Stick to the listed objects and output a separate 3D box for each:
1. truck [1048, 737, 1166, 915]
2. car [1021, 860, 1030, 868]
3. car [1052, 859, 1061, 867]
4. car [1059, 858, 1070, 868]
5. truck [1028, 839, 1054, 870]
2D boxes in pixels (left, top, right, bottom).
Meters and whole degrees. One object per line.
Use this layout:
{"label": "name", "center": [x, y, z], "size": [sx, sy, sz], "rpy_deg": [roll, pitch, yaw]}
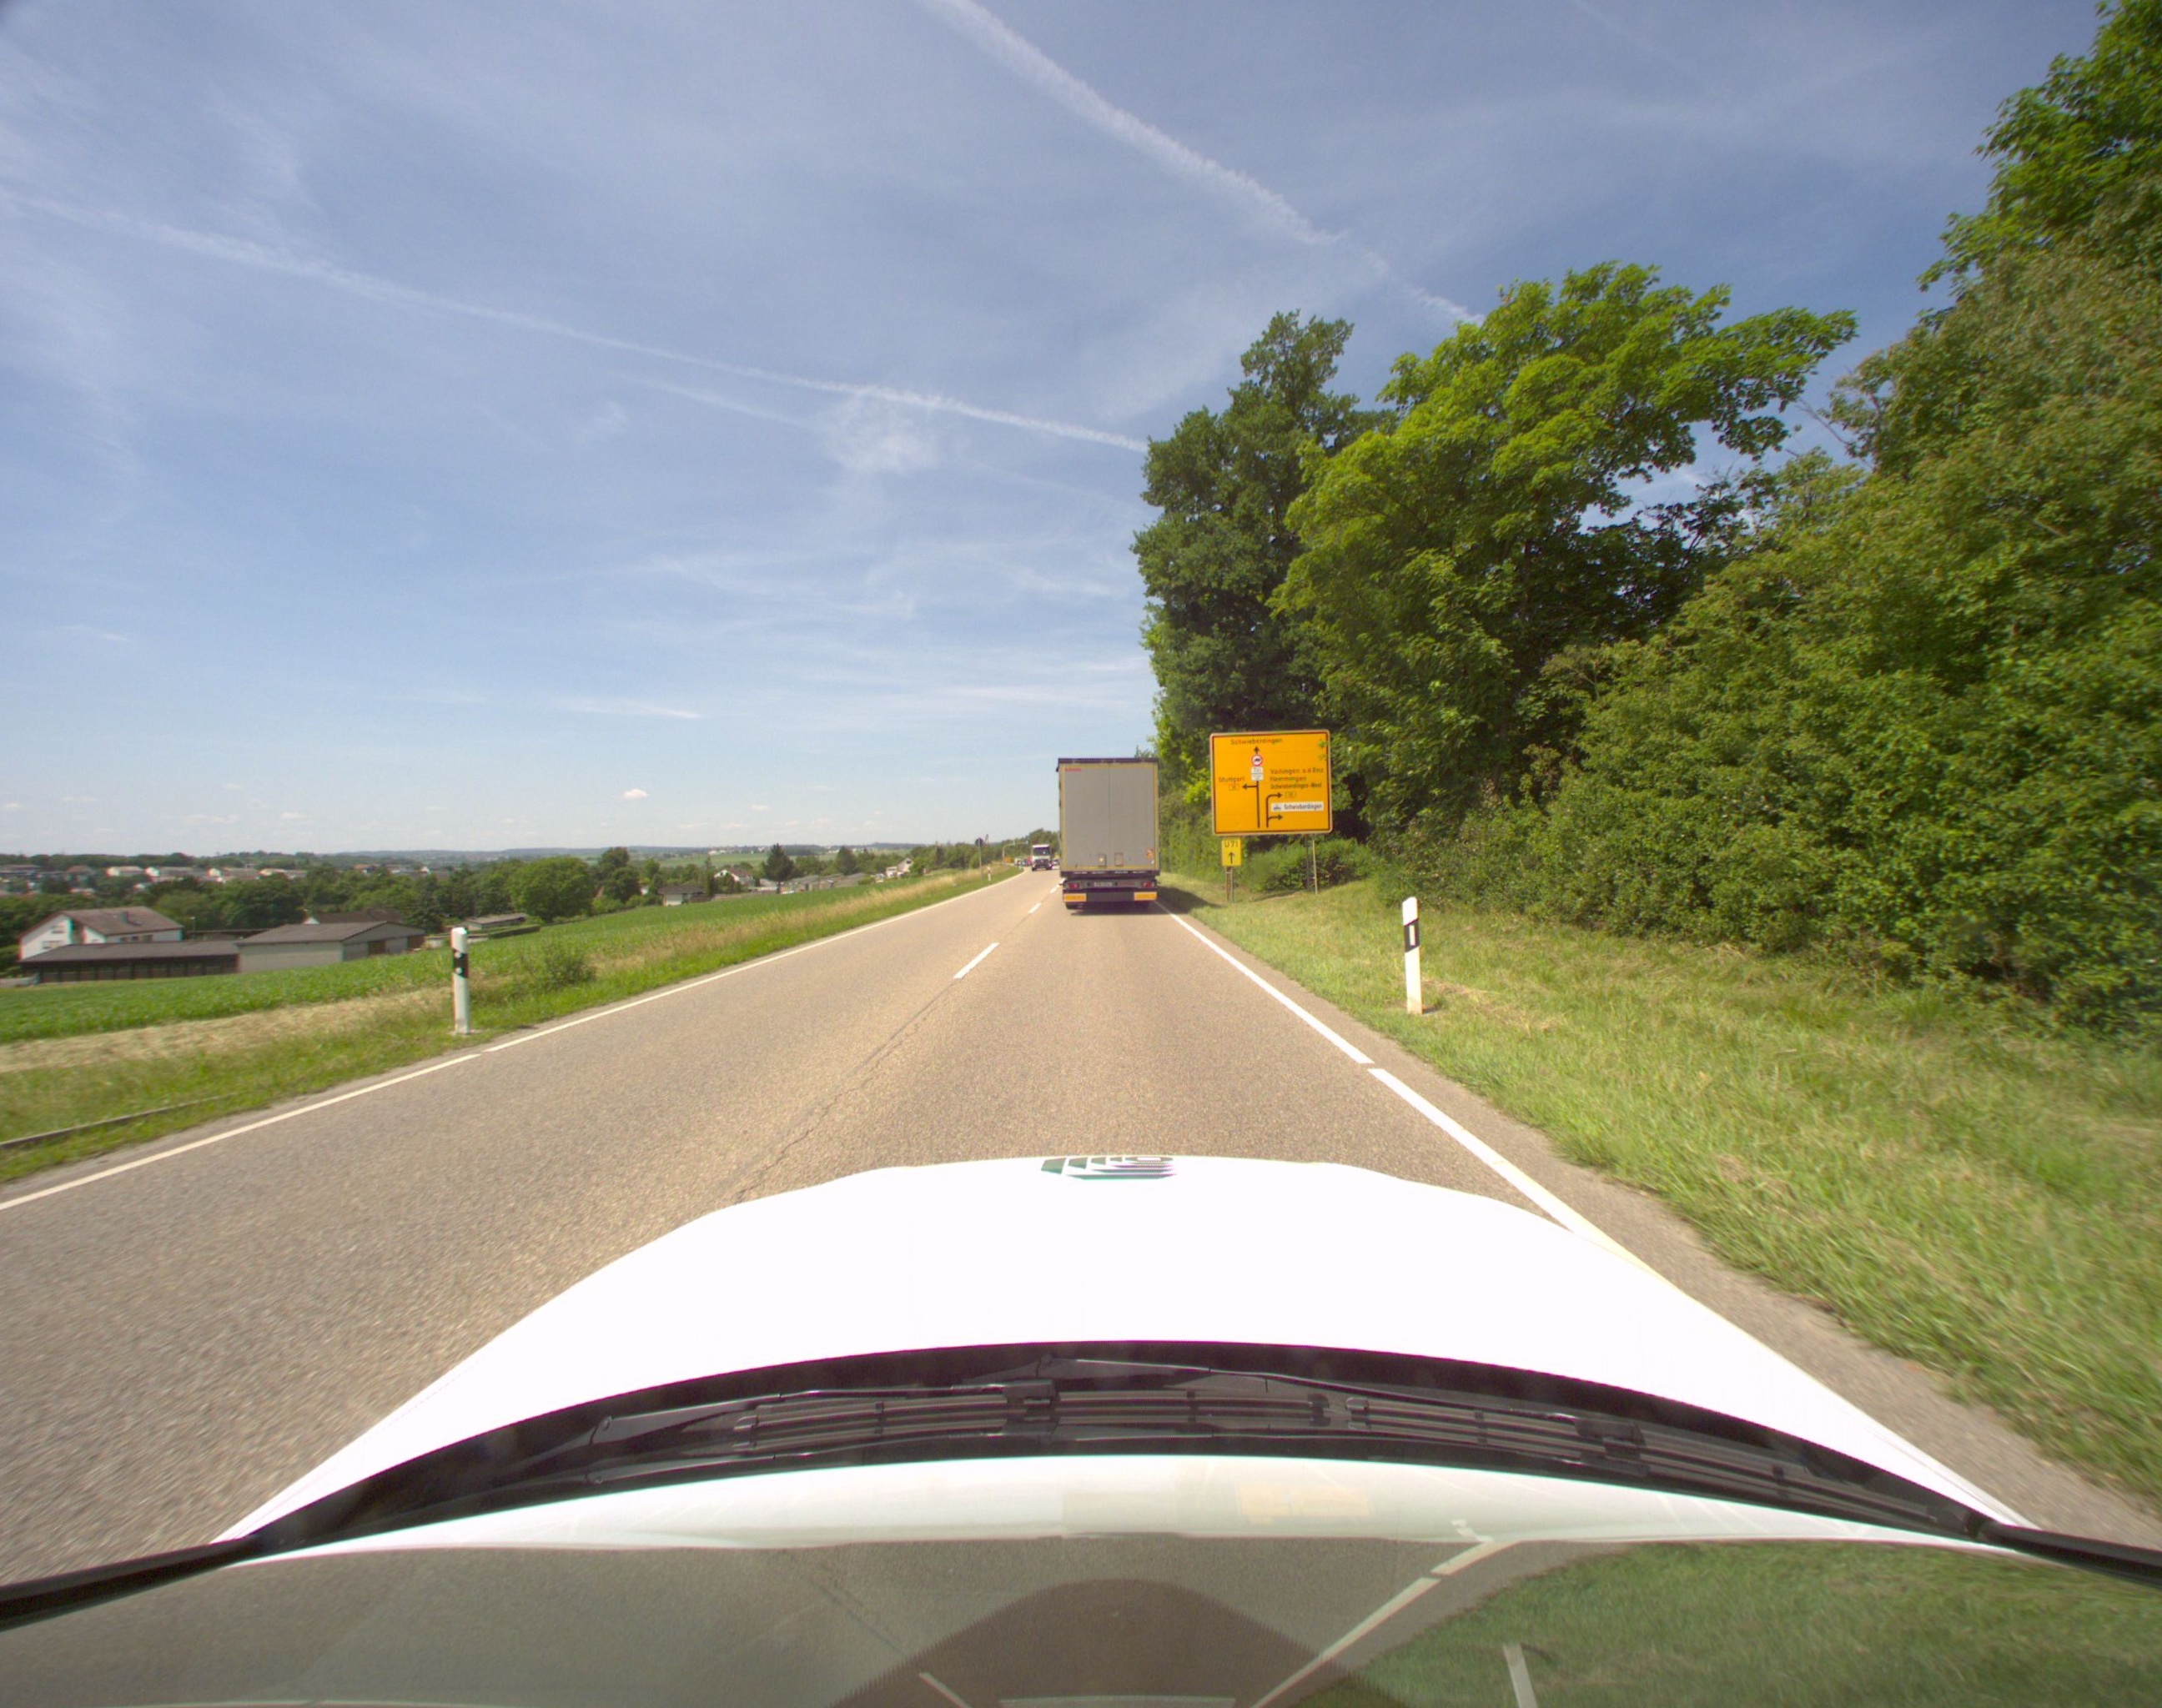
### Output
{"label": "truck", "center": [0.610, -0.687, 24.737], "size": [2.898, 4.410, 8.857], "rpy_deg": [-1, 0, -1]}
{"label": "car", "center": [-14.204, 2.509, 207.832], "size": [1.990, 1.950, 4.494], "rpy_deg": [-4, 0, -5]}
{"label": "car", "center": [-5.827, 2.207, 195.717], "size": [1.888, 1.777, 4.380], "rpy_deg": [-4, 0, -4]}
{"label": "car", "center": [-3.718, 1.974, 180.904], "size": [2.167, 2.013, 4.520], "rpy_deg": [-4, 0, -4]}
{"label": "truck", "center": [-4.987, 0.144, 103.526], "size": [2.749, 3.576, 11.058], "rpy_deg": [-4, -1, -1]}
